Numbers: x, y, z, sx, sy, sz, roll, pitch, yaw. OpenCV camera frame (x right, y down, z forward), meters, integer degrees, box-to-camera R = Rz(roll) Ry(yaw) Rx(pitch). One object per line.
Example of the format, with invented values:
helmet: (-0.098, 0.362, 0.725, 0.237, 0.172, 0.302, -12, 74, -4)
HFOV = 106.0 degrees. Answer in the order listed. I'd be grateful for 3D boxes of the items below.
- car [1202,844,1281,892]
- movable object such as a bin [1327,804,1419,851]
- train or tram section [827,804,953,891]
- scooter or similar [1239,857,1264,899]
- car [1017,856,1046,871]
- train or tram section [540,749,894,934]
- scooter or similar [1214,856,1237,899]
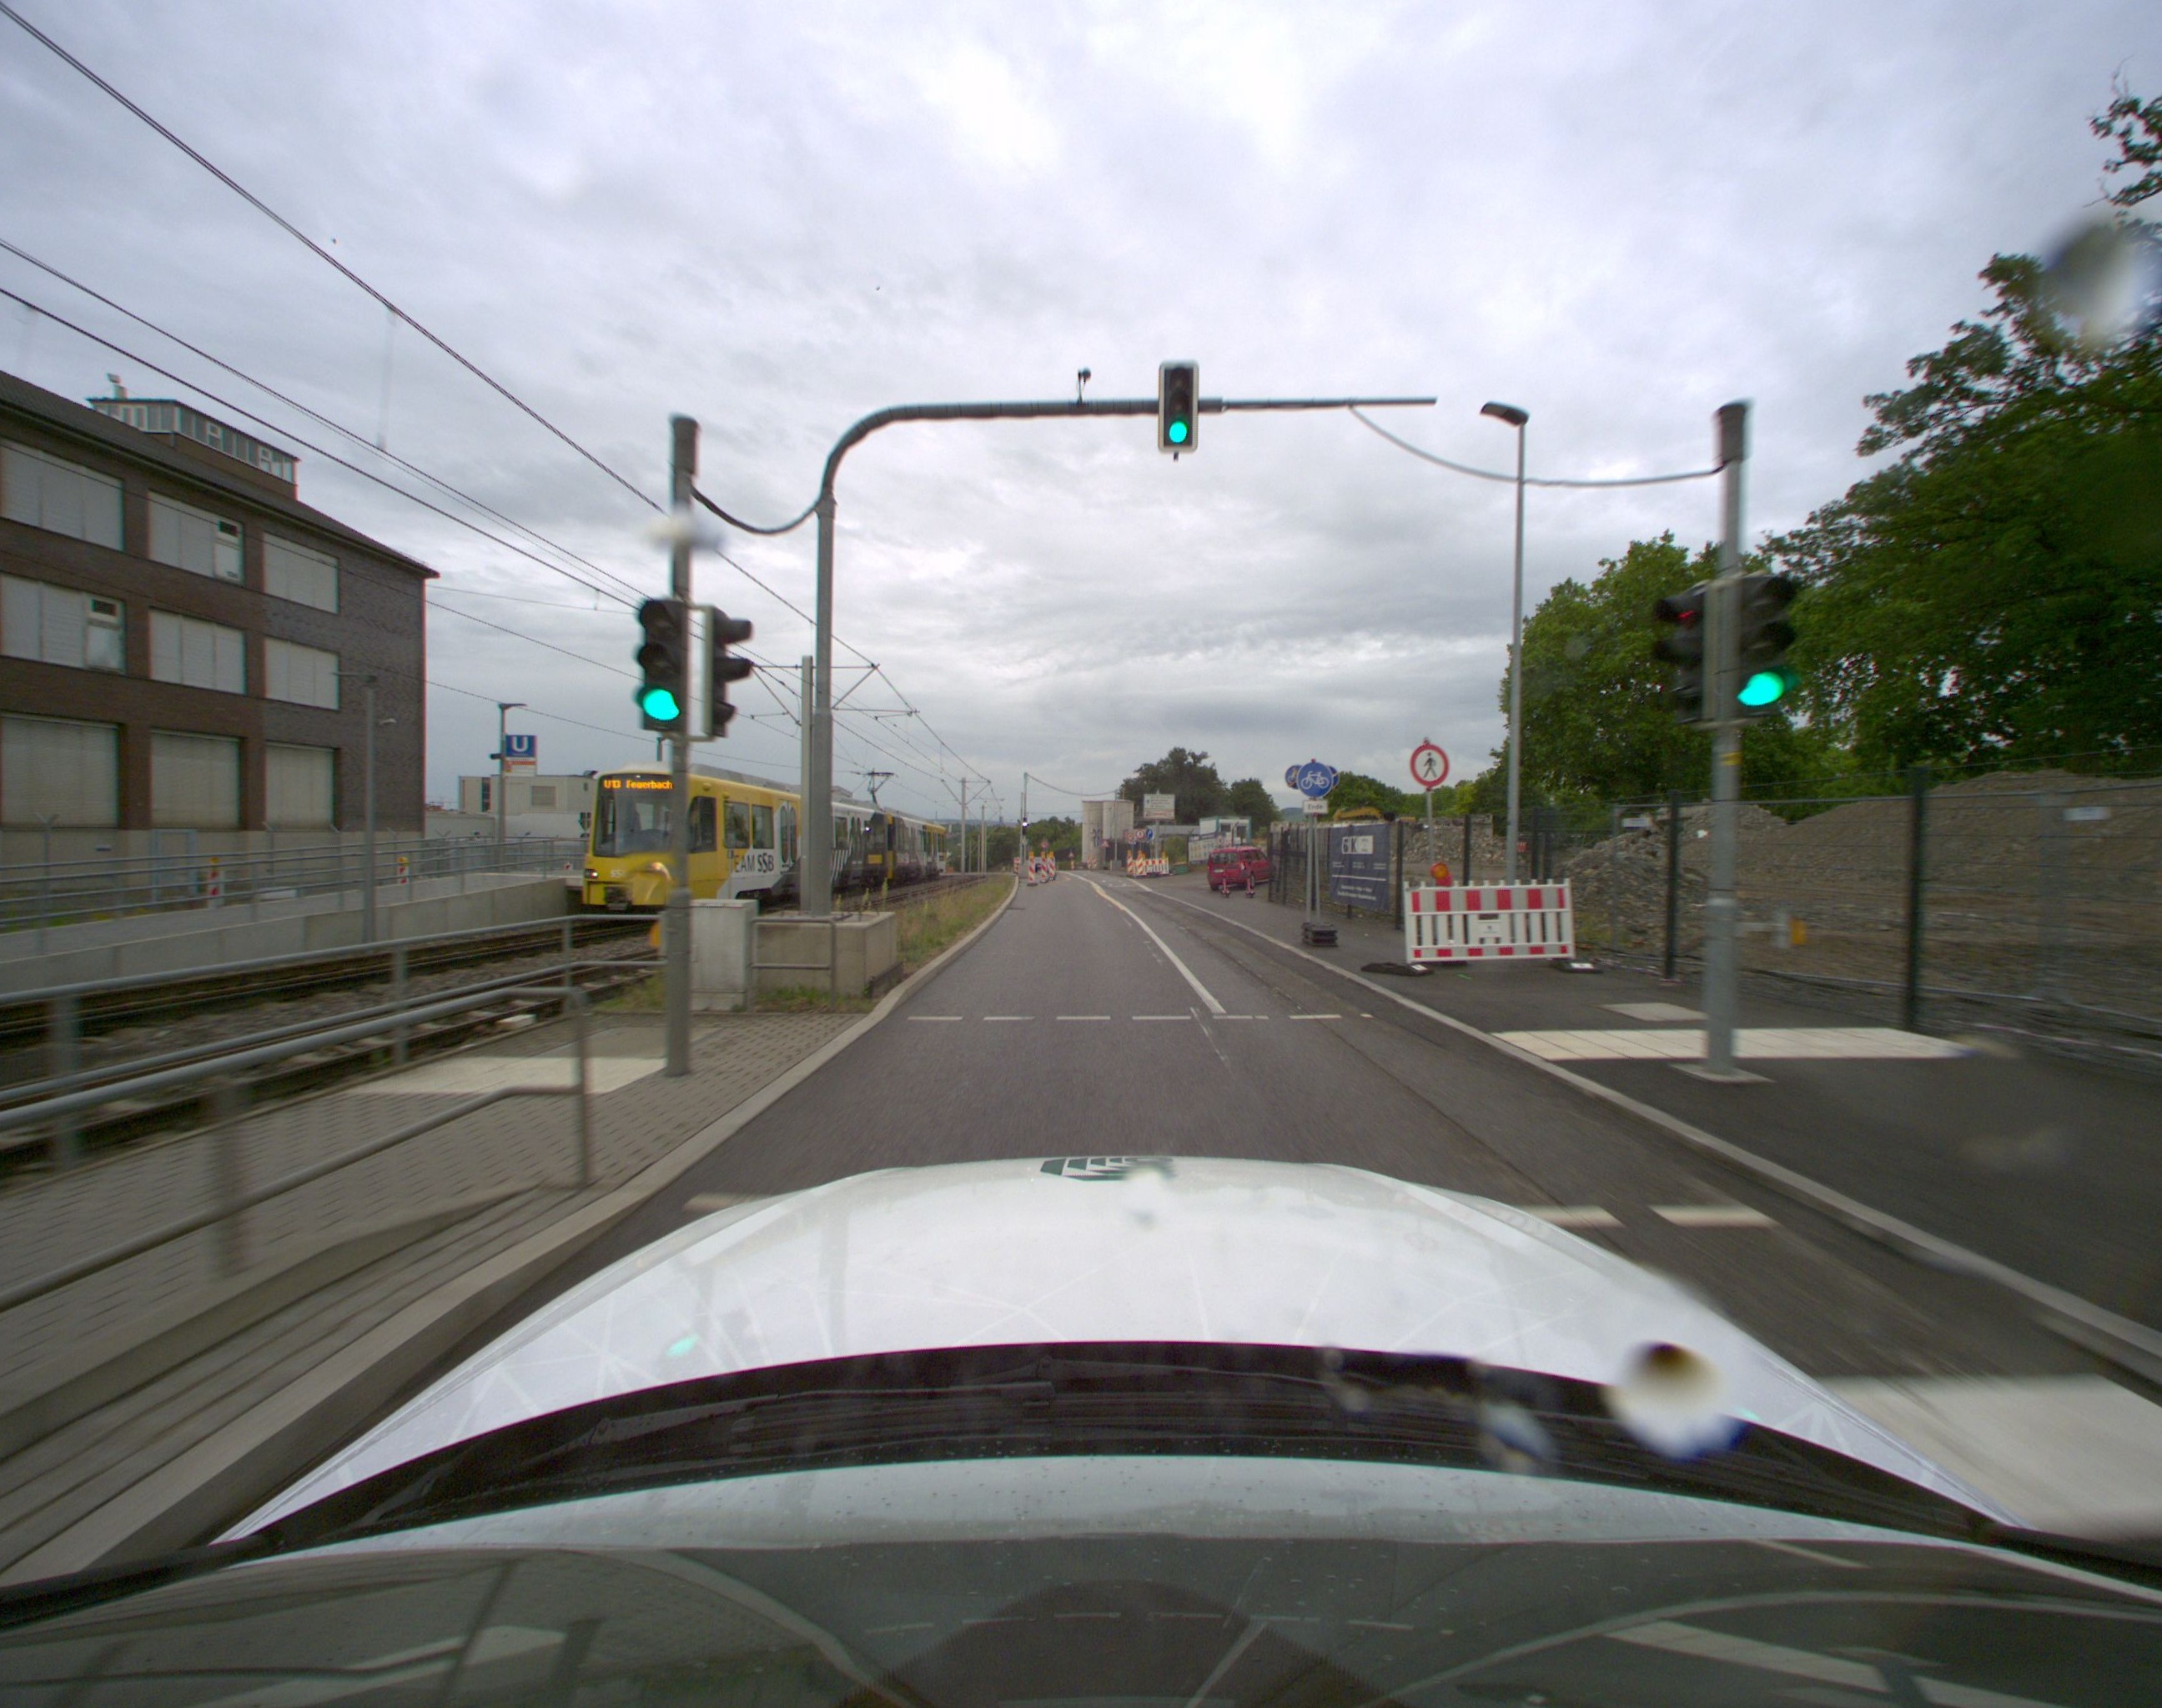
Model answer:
car: (6.522, 0.530, 32.743, 1.802, 1.794, 4.436, 0, 0, 29)
movable object such as a bin: (39.539, -3.553, 110.594, 11.173, 5.995, 3.497, -1, -1, 6)
train or tram section: (-10.150, -0.299, 46.523, 2.947, 3.886, 19.280, 1, 0, -1)
scooter or similar: (5.648, 0.780, 27.066, 0.612, 1.351, 1.915, 0, 0, 5)
car: (-5.688, 1.115, 93.614, 2.001, 1.678, 4.455, 0, -1, -22)
train or tram section: (-9.968, -0.253, 27.081, 2.946, 3.886, 19.567, 1, 0, 0)
scooter or similar: (4.798, 0.761, 27.128, 0.612, 1.351, 1.915, 0, 0, 5)
